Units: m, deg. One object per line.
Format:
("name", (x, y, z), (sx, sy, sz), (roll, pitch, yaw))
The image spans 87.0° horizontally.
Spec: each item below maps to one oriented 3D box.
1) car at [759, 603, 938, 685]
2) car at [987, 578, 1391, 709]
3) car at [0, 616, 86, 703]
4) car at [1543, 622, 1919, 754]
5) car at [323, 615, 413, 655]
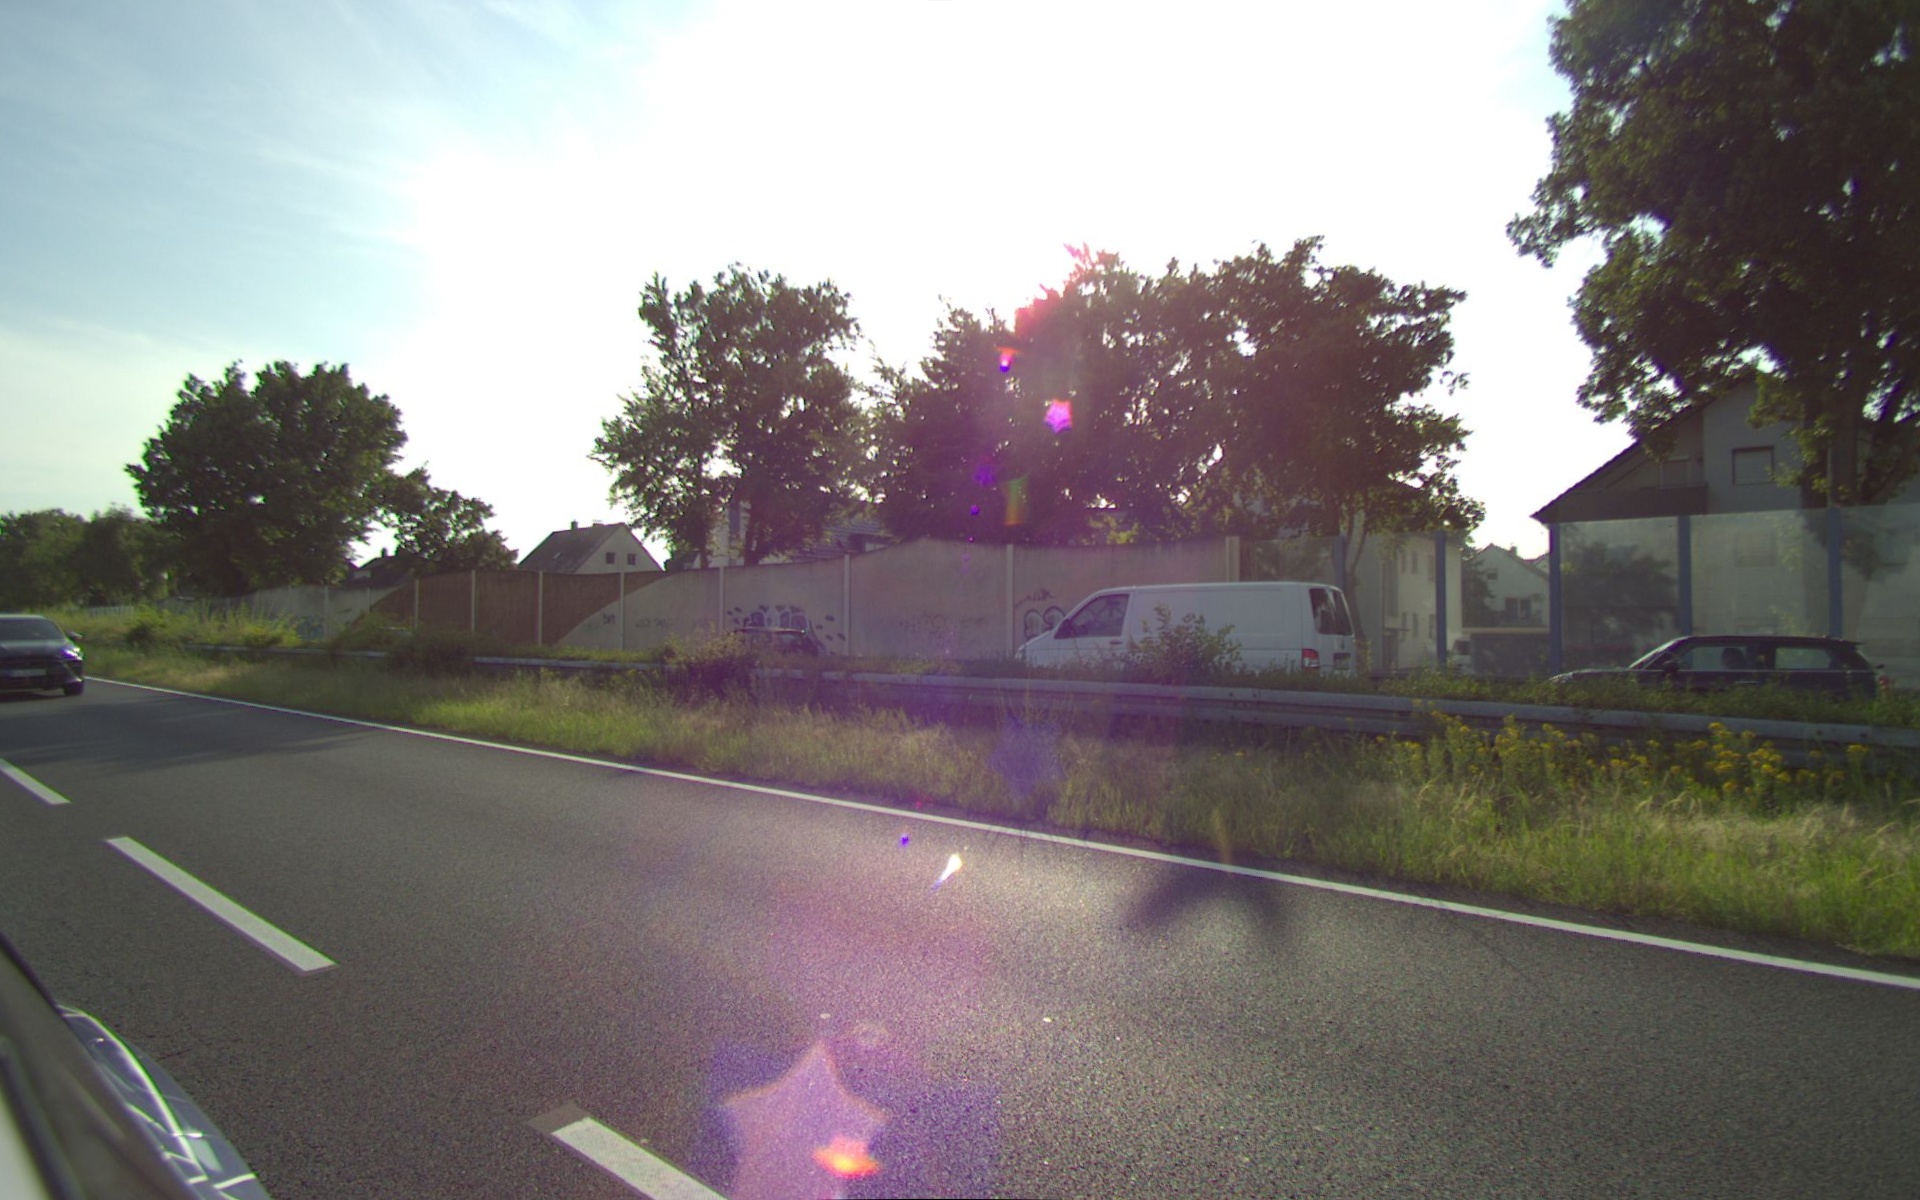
("car", (-2.609, 0.953, 23.208), (3.996, 1.705, 1.817), (-1, 0, 40))
("car", (2.972, 0.529, 13.876), (5.055, 1.495, 1.961), (-1, 0, 39))
("car", (-18.691, 1.118, 19.798), (4.243, 1.536, 1.799), (-1, 0, 40))
("car", (9.582, 0.999, 12.774), (3.604, 1.389, 1.657), (-1, 0, 40))
("car", (-23.176, 1.334, 39.571), (3.996, 1.453, 1.737), (-1, 0, 39))
